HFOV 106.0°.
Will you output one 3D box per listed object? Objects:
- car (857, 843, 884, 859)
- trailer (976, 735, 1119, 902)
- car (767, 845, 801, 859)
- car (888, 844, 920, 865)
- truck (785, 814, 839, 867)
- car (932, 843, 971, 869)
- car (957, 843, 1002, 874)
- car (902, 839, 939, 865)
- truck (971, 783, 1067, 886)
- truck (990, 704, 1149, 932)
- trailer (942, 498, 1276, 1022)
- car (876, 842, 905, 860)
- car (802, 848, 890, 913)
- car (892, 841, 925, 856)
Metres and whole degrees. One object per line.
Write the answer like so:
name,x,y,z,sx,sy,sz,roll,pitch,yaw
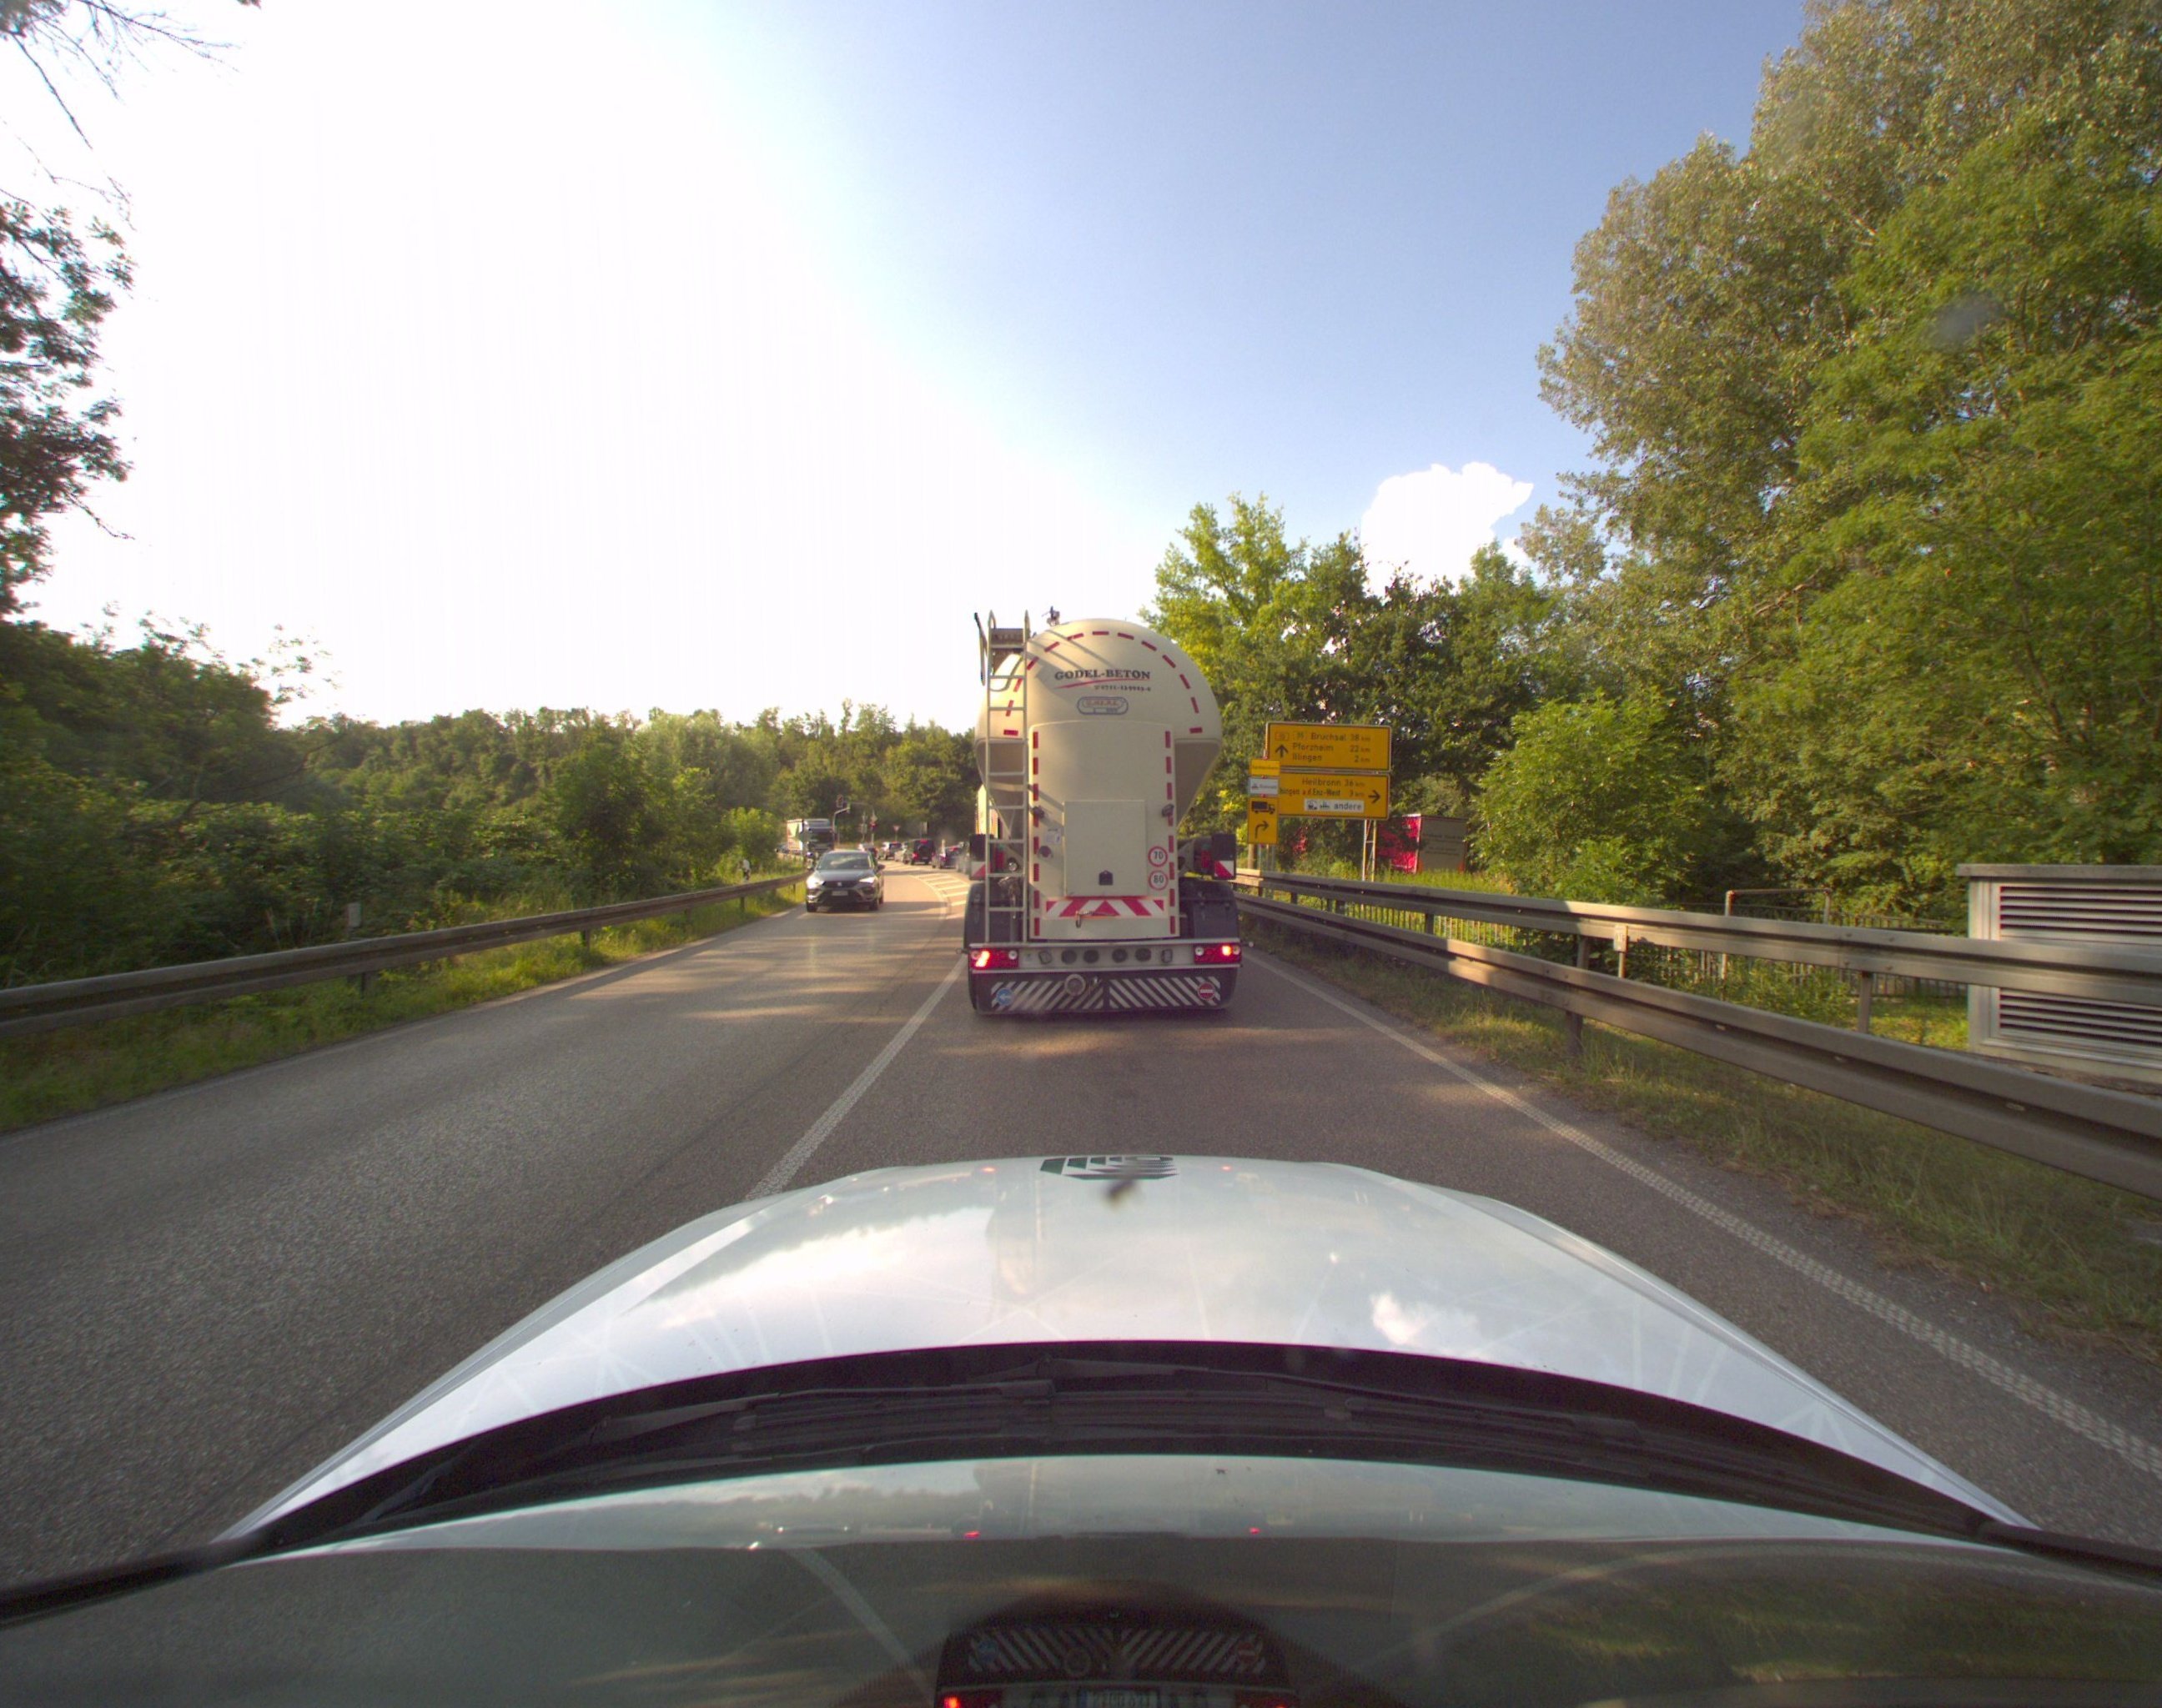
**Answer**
car,-21.640,-0.321,83.684,1.878,1.565,3.965,2,0,-27
trailer,-1.714,-0.945,28.772,3.545,4.513,12.943,1,0,-9
car,-34.027,-0.222,93.354,1.856,1.556,4.012,1,0,11
car,-15.392,0.023,70.872,1.877,1.683,3.967,1,0,-25
truck,-25.062,-1.147,75.584,3.030,4.585,10.147,0,0,-28
car,-8.654,0.111,54.128,1.873,1.564,3.974,-2,1,-19
car,-5.728,0.215,45.631,1.872,1.628,3.978,-2,1,-16
car,-12.448,-0.163,62.935,1.966,1.851,3.968,-2,1,-24
truck,-2.875,-0.760,35.743,3.452,4.086,6.466,1,0,-11
truck,-0.427,-0.646,17.477,2.819,4.035,5.884,0,0,-5
trailer,-0.036,-0.814,11.830,2.881,4.454,9.593,0,0,-4
car,-17.791,-0.327,76.043,1.876,1.595,3.968,2,0,-25
car,-6.375,0.642,22.495,1.868,1.564,3.987,-1,1,-10
car,-24.150,-0.724,113.978,4.018,2.013,1.978,1,0,-38
